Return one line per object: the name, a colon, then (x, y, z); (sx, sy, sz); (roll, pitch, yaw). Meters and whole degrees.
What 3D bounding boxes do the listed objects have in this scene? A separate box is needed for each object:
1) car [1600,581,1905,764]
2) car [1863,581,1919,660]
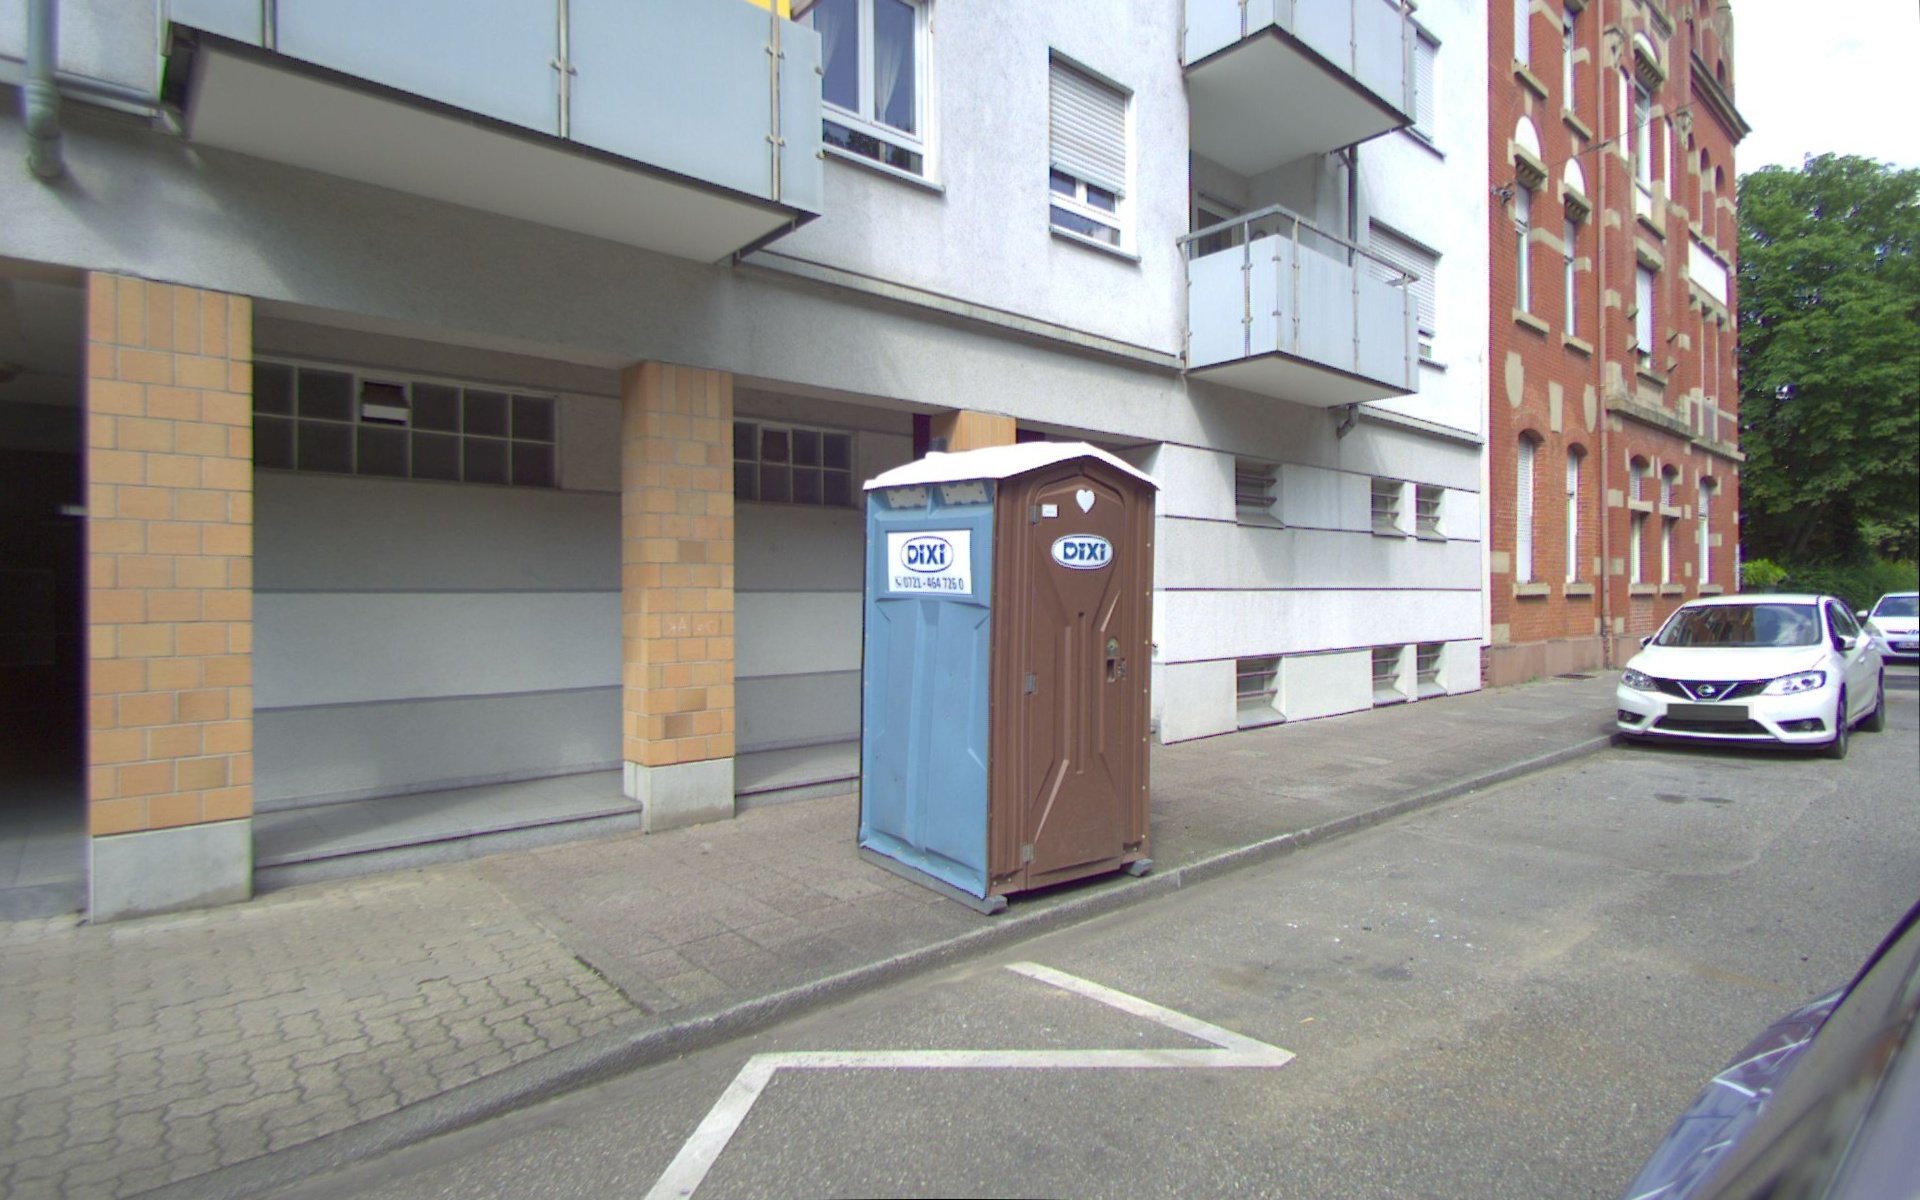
car: (8.374, 0.606, 10.569); (3.971, 1.549, 1.799); (-1, -1, -41)
car: (20.429, 0.379, 21.177); (3.971, 1.549, 1.799); (-1, -1, -41)
